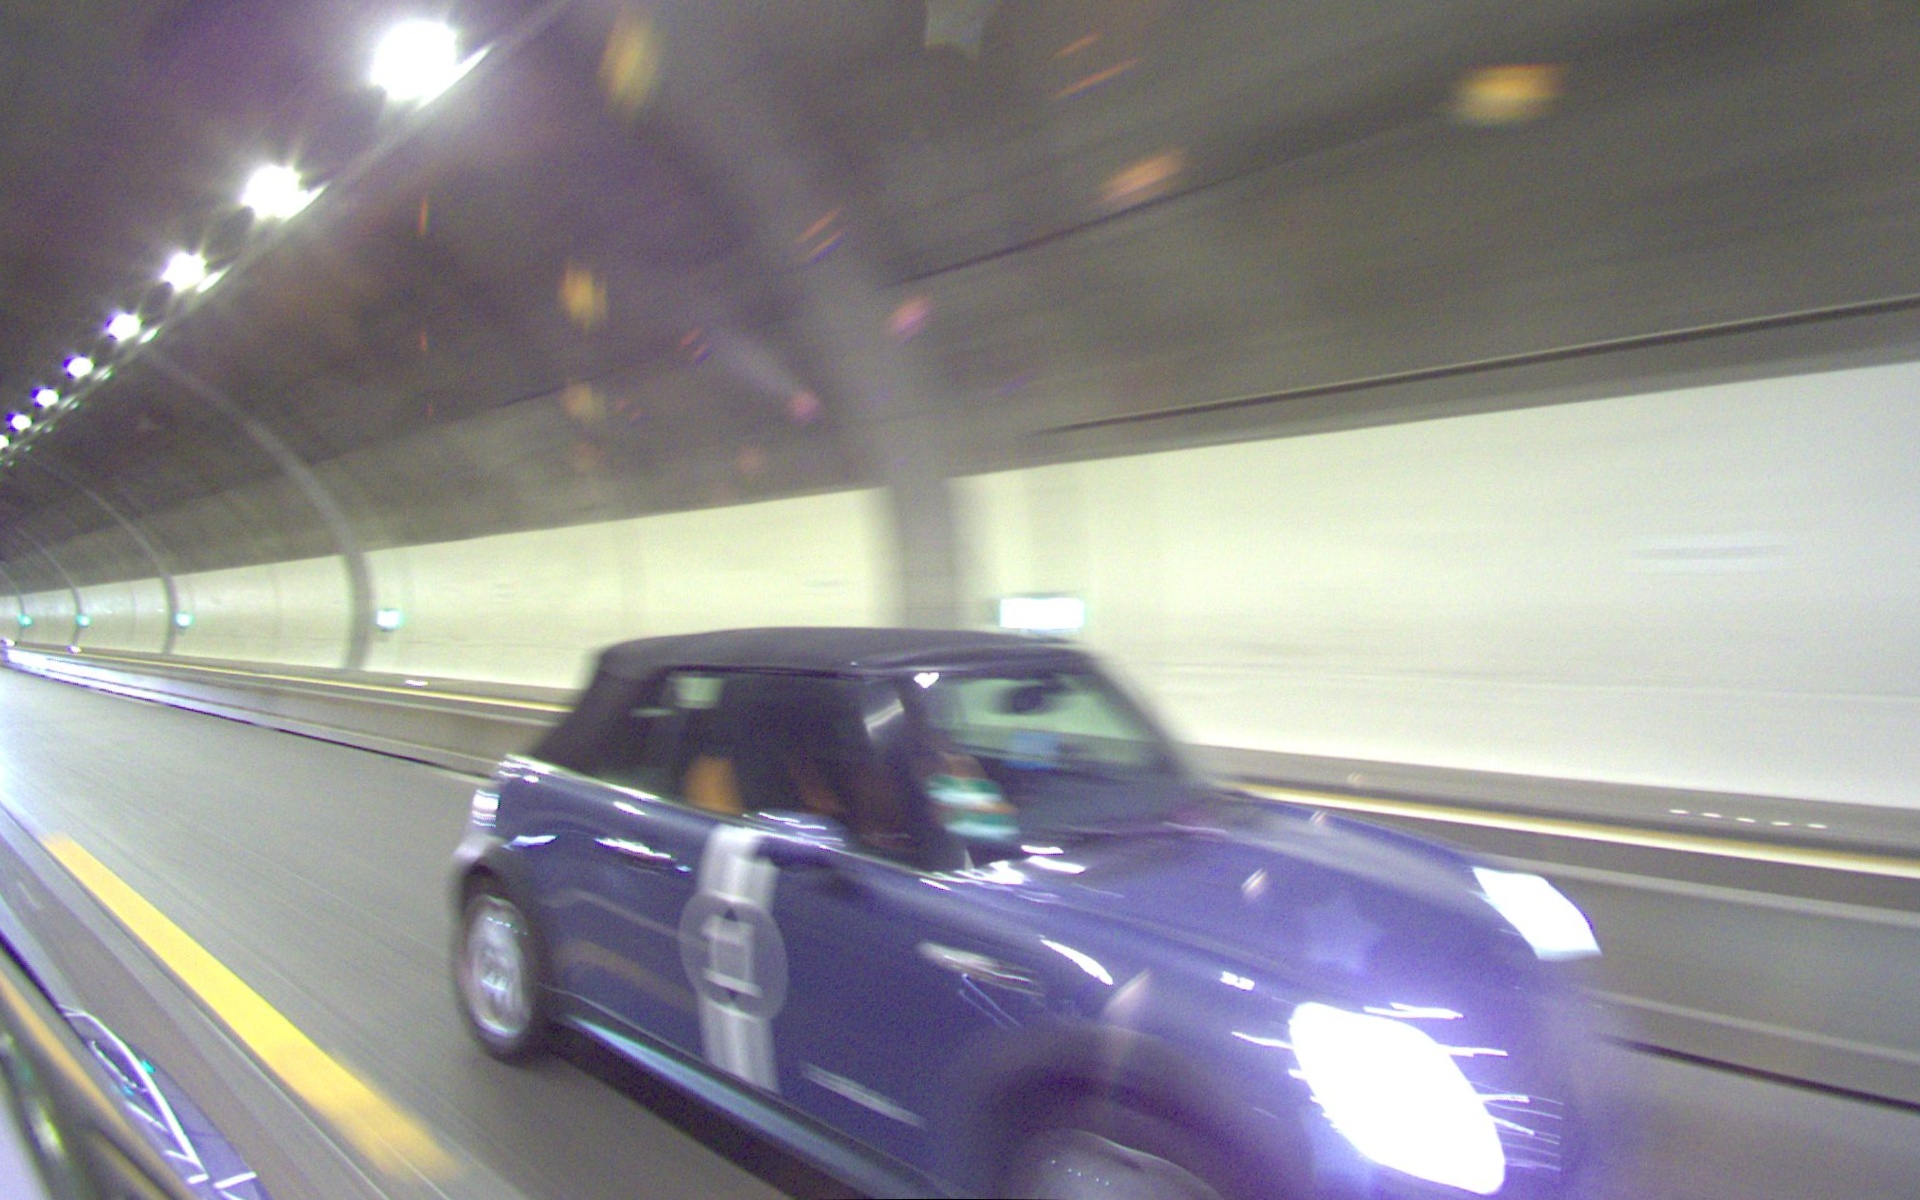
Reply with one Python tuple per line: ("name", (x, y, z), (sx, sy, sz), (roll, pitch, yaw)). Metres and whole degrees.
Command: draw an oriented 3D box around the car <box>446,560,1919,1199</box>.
("car", (0.206, 0.703, 2.906), (3.921, 1.428, 1.671), (-1, -1, 41))
